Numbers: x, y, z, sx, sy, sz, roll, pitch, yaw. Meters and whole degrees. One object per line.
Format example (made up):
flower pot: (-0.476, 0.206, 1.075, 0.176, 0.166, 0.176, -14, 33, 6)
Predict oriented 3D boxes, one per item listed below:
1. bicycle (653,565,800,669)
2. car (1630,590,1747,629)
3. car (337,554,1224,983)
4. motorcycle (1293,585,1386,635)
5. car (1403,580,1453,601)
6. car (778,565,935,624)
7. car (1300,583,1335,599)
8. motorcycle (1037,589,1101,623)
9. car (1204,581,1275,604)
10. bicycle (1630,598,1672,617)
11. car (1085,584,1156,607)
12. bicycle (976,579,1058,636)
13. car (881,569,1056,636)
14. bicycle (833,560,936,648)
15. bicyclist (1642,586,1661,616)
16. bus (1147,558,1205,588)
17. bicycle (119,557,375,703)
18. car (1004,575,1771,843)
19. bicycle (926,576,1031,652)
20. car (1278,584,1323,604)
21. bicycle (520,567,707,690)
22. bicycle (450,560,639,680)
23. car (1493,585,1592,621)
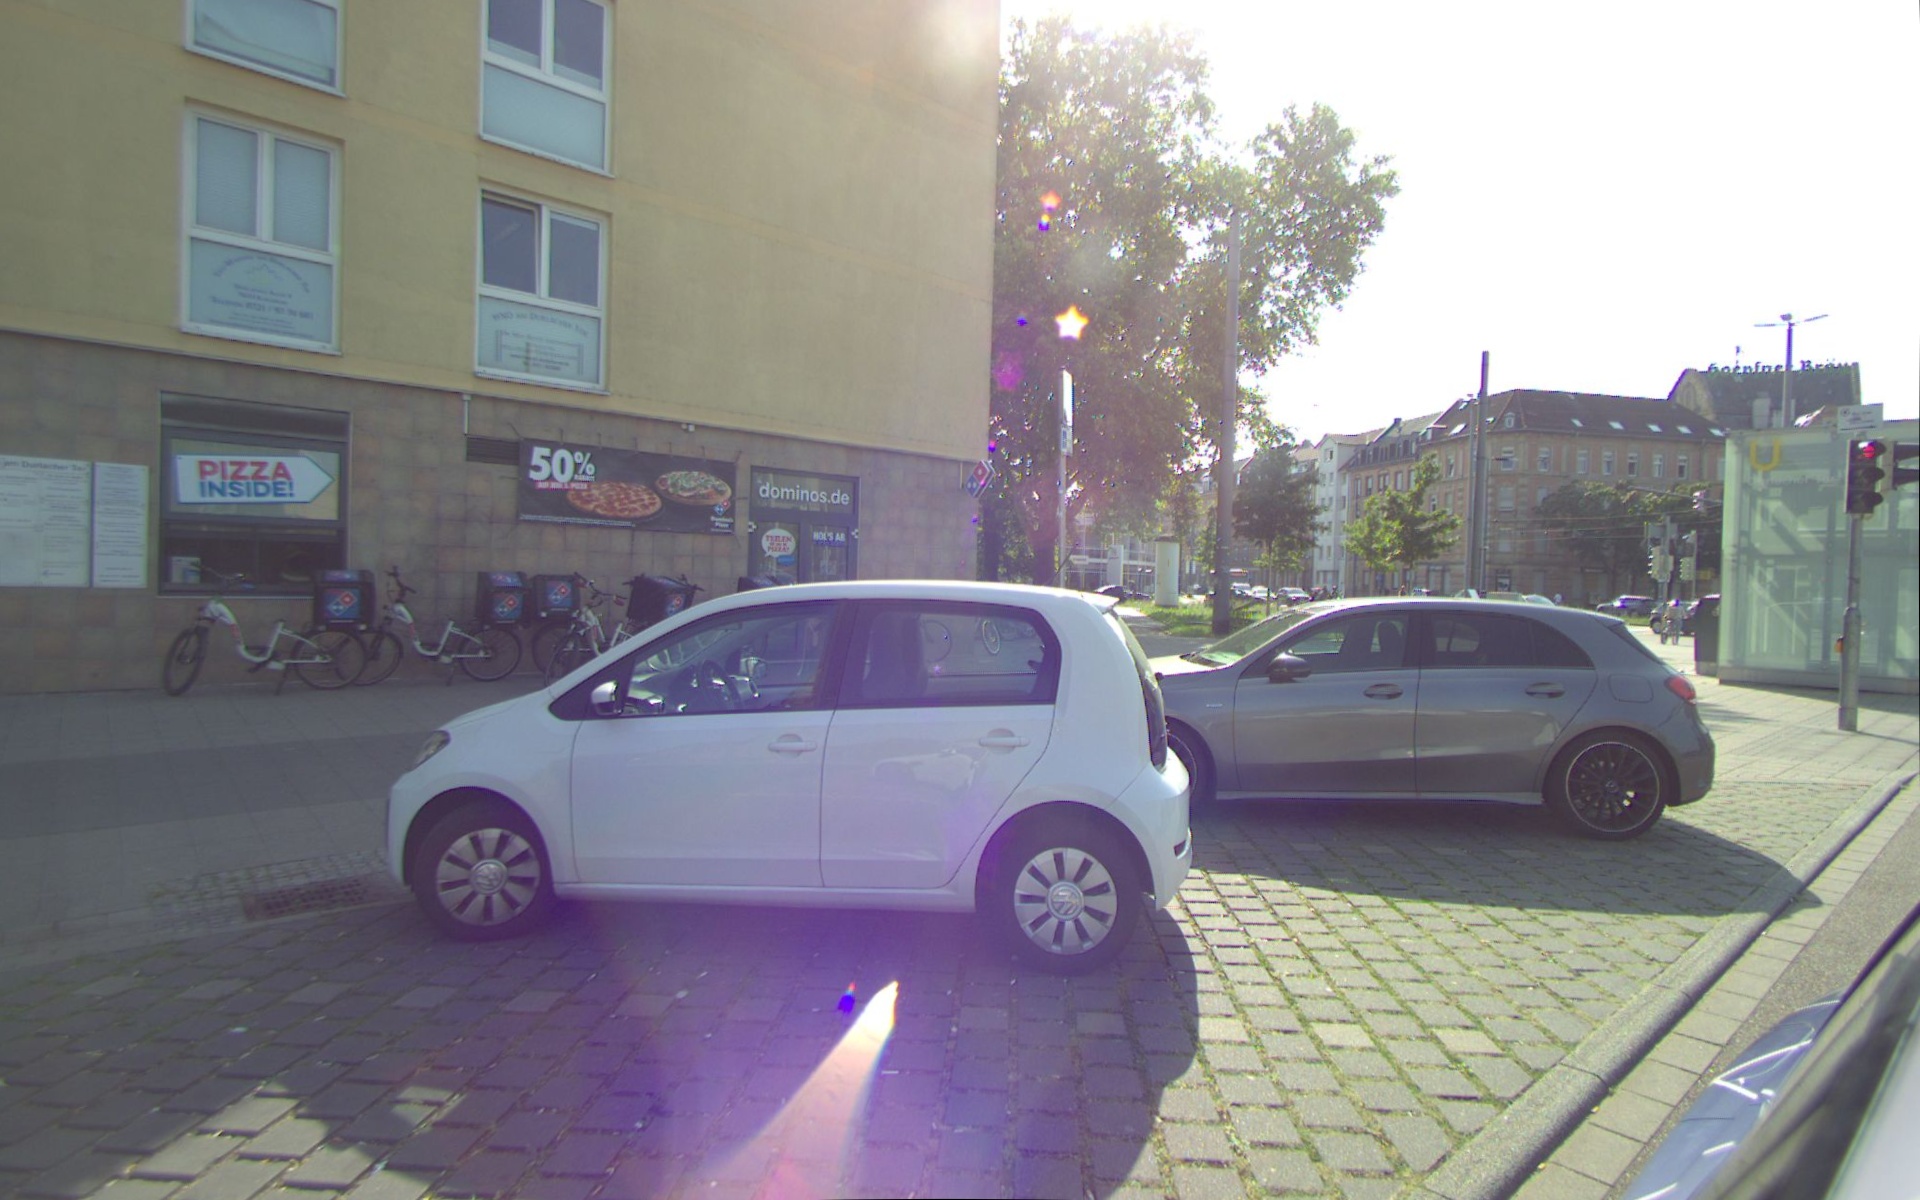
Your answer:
bicycle: (-3.072, 0.209, 13.420, 1.817, 1.277, 0.603, 0, 2, -42)
car: (31.260, 0.386, 43.544, 1.766, 1.459, 3.912, 2, 1, -10)
car: (-0.695, 0.571, 4.652, 3.469, 1.482, 1.620, 1, 1, 8)
motorcycle: (9.211, 0.249, 24.520, 2.253, 1.161, 0.707, 1, 1, -25)
car: (40.560, -0.830, 87.897, 1.778, 1.644, 4.297, 3, 1, -9)
car: (-2.873, -0.169, 28.489, 3.929, 1.526, 1.998, 0, 2, -40)
car: (36.412, -0.894, 103.159, 1.642, 1.465, 3.788, 2, 1, -11)
motorcycle: (3.500, 0.197, 32.424, 1.916, 1.014, 0.707, 1, 1, -25)
car: (19.286, -0.529, 70.044, 4.316, 1.387, 2.000, 2, 1, 2)
bicycle: (44.105, 0.459, 64.610, 0.519, 1.109, 2.188, 1, 2, -34)
car: (10.950, -0.321, 69.301, 4.305, 1.387, 2.005, 1, 1, -16)
bicycle: (1.340, 0.169, 23.342, 0.523, 1.250, 2.264, 3, 2, 44)
car: (0.261, 0.051, 24.328, 4.120, 1.459, 1.660, 0, 2, -40)
bicycle: (-1.141, 0.055, 15.522, 1.608, 1.277, 0.469, 0, 1, -42)
bicyclist: (44.129, 0.069, 64.569, 0.767, 1.885, 0.710, 1, 1, -35)
bus: (23.158, -2.928, 109.317, 2.840, 3.021, 11.510, 2, 2, -4)
bicycle: (-6.829, 0.259, 9.766, 1.963, 1.277, 0.603, 0, 2, -42)
car: (2.546, 0.590, 6.955, 4.335, 1.441, 1.844, 1, 1, 8)
bicycle: (0.295, 0.220, 17.911, 0.659, 1.221, 2.021, 1, 2, -41)
car: (26.893, -0.510, 80.064, 1.766, 1.459, 3.638, 2, 1, -10)
bicycle: (-3.896, 0.295, 11.533, 0.602, 1.277, 1.968, 2, 2, 40)
bicycle: (-4.809, 0.205, 11.839, 0.602, 1.277, 1.968, 2, 2, 40)
car: (29.382, 0.132, 51.197, 1.958, 1.615, 4.010, 1, 2, -18)
